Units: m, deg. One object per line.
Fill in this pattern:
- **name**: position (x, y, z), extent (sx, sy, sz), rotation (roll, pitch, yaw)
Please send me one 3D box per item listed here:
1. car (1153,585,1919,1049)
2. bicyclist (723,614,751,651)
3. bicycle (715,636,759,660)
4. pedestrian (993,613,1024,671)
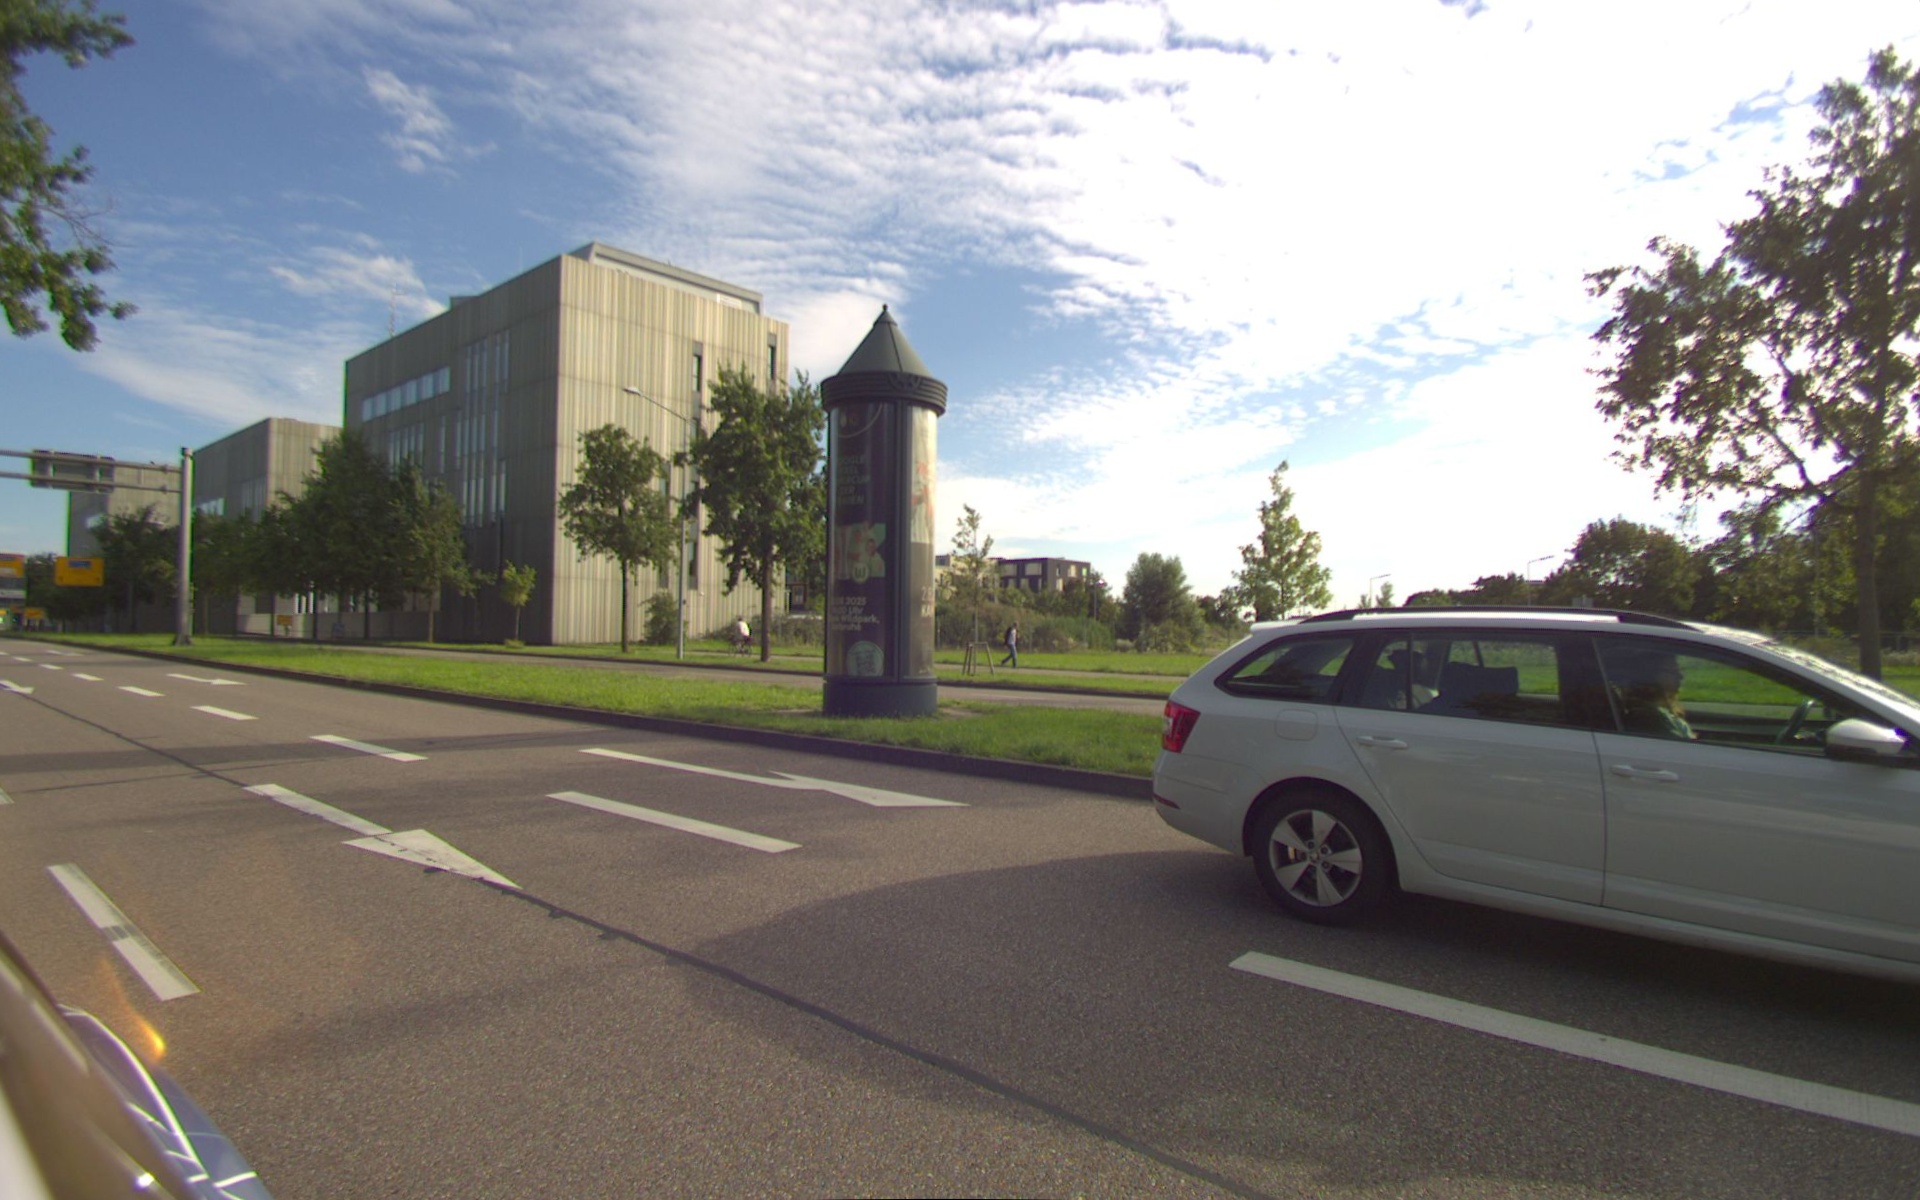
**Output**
- **car**: position (3.219, 0.722, 4.341), extent (4.479, 1.510, 1.681), rotation (-1, -1, 41)
- **bicyclist**: position (-9.534, 1.398, 43.336), extent (0.989, 1.537, 0.698), rotation (-1, -3, 41)
- **bicycle**: position (-9.556, 2.057, 43.345), extent (1.910, 0.989, 0.885), rotation (-1, -3, 41)
- **pedestrian**: position (1.747, 1.499, 36.127), extent (0.867, 2.029, 0.667), rotation (-1, -3, 41)
